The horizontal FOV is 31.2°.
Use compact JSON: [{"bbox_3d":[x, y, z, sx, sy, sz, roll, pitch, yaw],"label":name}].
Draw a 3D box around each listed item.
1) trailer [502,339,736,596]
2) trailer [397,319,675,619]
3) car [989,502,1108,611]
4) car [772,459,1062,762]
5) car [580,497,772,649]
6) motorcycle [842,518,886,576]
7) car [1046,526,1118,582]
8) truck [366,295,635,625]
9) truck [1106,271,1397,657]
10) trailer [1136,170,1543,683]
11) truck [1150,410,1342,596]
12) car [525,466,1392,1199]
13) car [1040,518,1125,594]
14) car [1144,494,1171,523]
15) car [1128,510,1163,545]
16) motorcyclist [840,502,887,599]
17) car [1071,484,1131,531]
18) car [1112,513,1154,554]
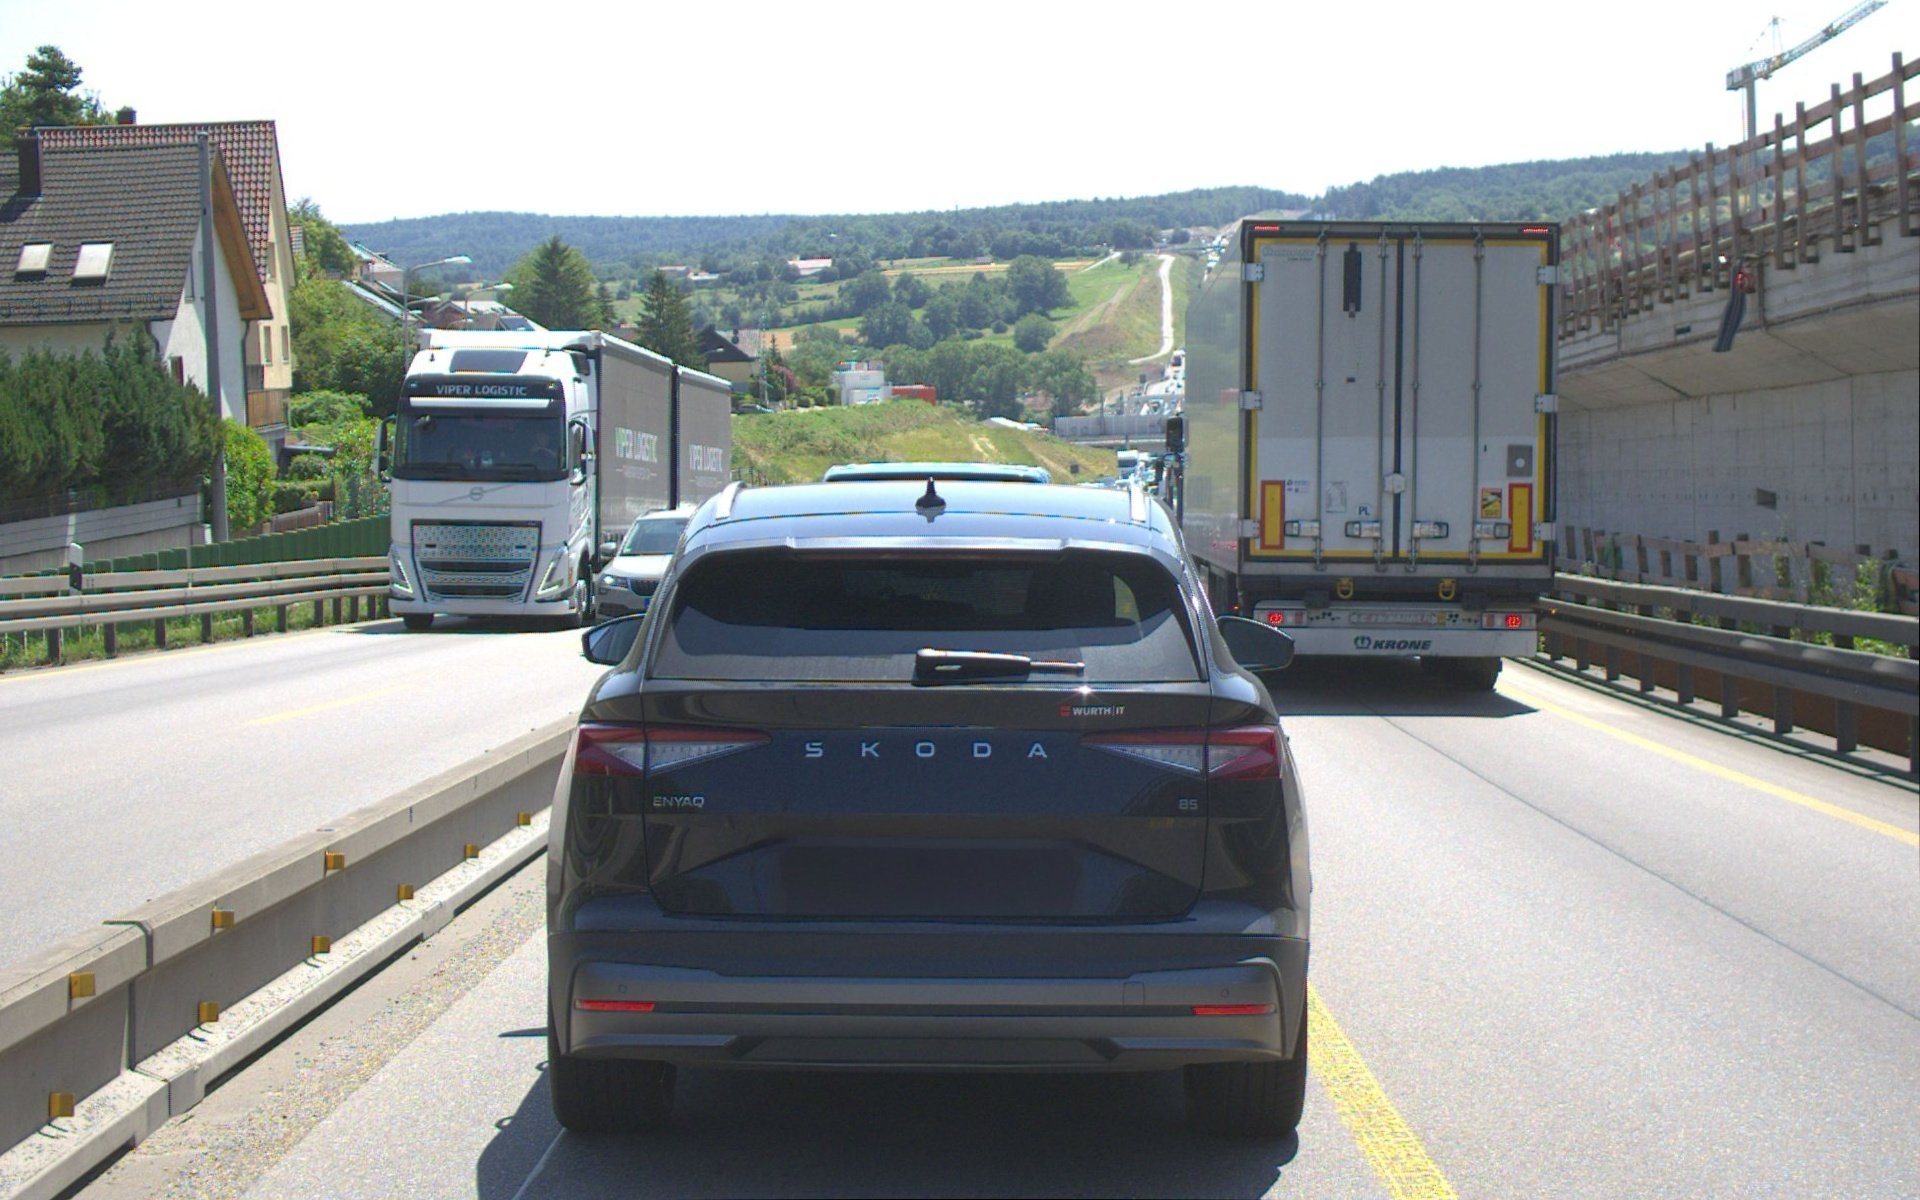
[{"bbox_3d":[-5.726,-2.266,59.164,2.757,4.056,8.634,1,2,3],"label":"trailer"},{"bbox_3d":[-6.111,-1.926,50.847,2.757,4.056,8.007,1,2,2],"label":"trailer"},{"bbox_3d":[1.365,-0.721,54.615,1.707,1.616,4.001,1,2,-1],"label":"car"},{"bbox_3d":[-0.378,0.000,23.483,1.706,1.875,4.001,1,2,-4],"label":"car"},{"bbox_3d":[-3.163,-0.307,38.992,1.859,1.605,4.069,1,0,-1],"label":"car"},{"bbox_3d":[-1.855,-1.035,66.572,0.786,1.076,1.912,1,2,0],"label":"motorcycle"},{"bbox_3d":[3.567,-1.336,101.242,1.993,1.579,3.836,1,0,0],"label":"car"},{"bbox_3d":[-6.233,-1.887,47.324,2.752,4.268,4.957,1,1,3],"label":"truck"},{"bbox_3d":[3.233,-1.452,40.187,2.513,4.011,8.238,1,0,-1],"label":"truck"},{"bbox_3d":[3.364,-1.438,33.539,2.532,4.113,11.548,1,0,-1],"label":"trailer"},{"bbox_3d":[5.252,-1.710,65.280,3.195,3.180,12.807,0,0,3],"label":"truck"},{"bbox_3d":[-0.143,0.502,9.315,1.842,1.581,3.908,1,0,-4],"label":"car"},{"bbox_3d":[2.756,-1.020,78.035,1.707,1.616,4.001,1,2,-1],"label":"car"},{"bbox_3d":[12.776,-5.915,222.408,1.701,1.722,3.836,1,0,4],"label":"car"},{"bbox_3d":[9.459,-3.706,175.449,1.701,1.722,3.836,1,0,4],"label":"car"},{"bbox_3d":[-1.853,-0.958,66.447,0.853,1.848,0.984,1,1,0],"label":"motorcyclist"},{"bbox_3d":[5.044,-3.297,123.208,1.993,1.579,3.836,1,0,0],"label":"car"},{"bbox_3d":[7.475,-2.863,148.239,1.701,1.722,3.836,1,0,4],"label":"car"}]
